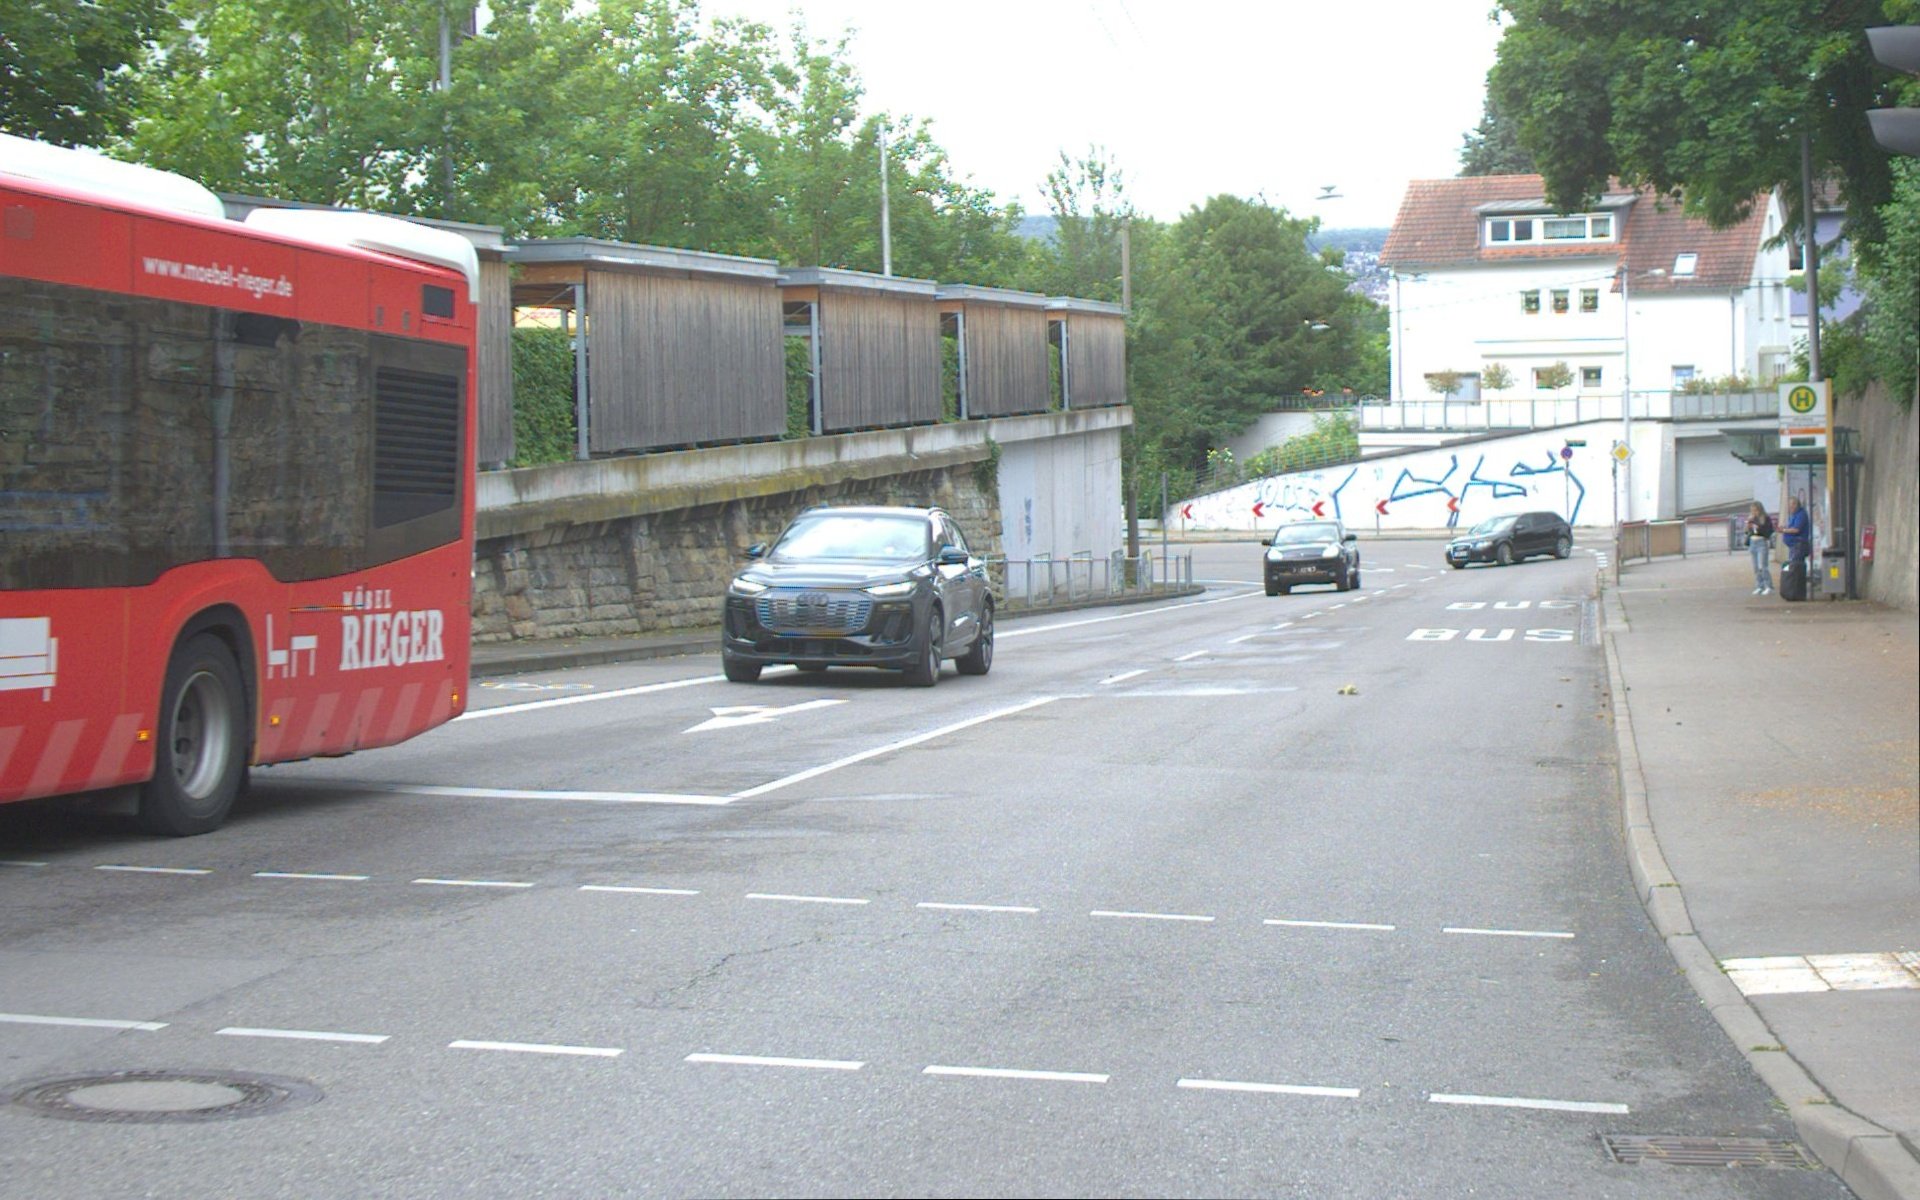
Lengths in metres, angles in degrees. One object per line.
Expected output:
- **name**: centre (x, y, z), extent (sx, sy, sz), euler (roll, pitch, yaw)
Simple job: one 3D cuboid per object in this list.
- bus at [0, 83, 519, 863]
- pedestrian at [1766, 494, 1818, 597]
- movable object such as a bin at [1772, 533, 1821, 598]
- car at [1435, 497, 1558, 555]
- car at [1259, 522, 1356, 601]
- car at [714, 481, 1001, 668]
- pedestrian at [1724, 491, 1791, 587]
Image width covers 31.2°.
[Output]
- **bus**: centre (-4.760, -0.563, 15.602), extent (2.659, 3.111, 8.288), euler (2, 1, 13)
- **pedestrian**: centre (13.462, -0.879, 55.640), extent (0.721, 1.637, 0.631), euler (-1, 1, 6)
- **movable object such as a bin**: centre (13.377, -0.549, 54.978), extent (0.674, 1.016, 0.627), euler (-1, 2, 6)
- **car**: centre (14.875, -2.050, 95.165), extent (1.738, 1.527, 3.992), euler (-1, 1, 36)
- **car**: centre (8.117, -0.907, 80.062), extent (1.895, 1.750, 4.435), euler (-1, 1, 10)
- **car**: centre (-0.897, -0.246, 32.994), extent (1.922, 1.624, 4.521), euler (2, 0, 9)
- **pedestrian**: centre (13.453, -1.027, 58.006), extent (0.771, 1.582, 0.737), euler (-4, 2, -38)
